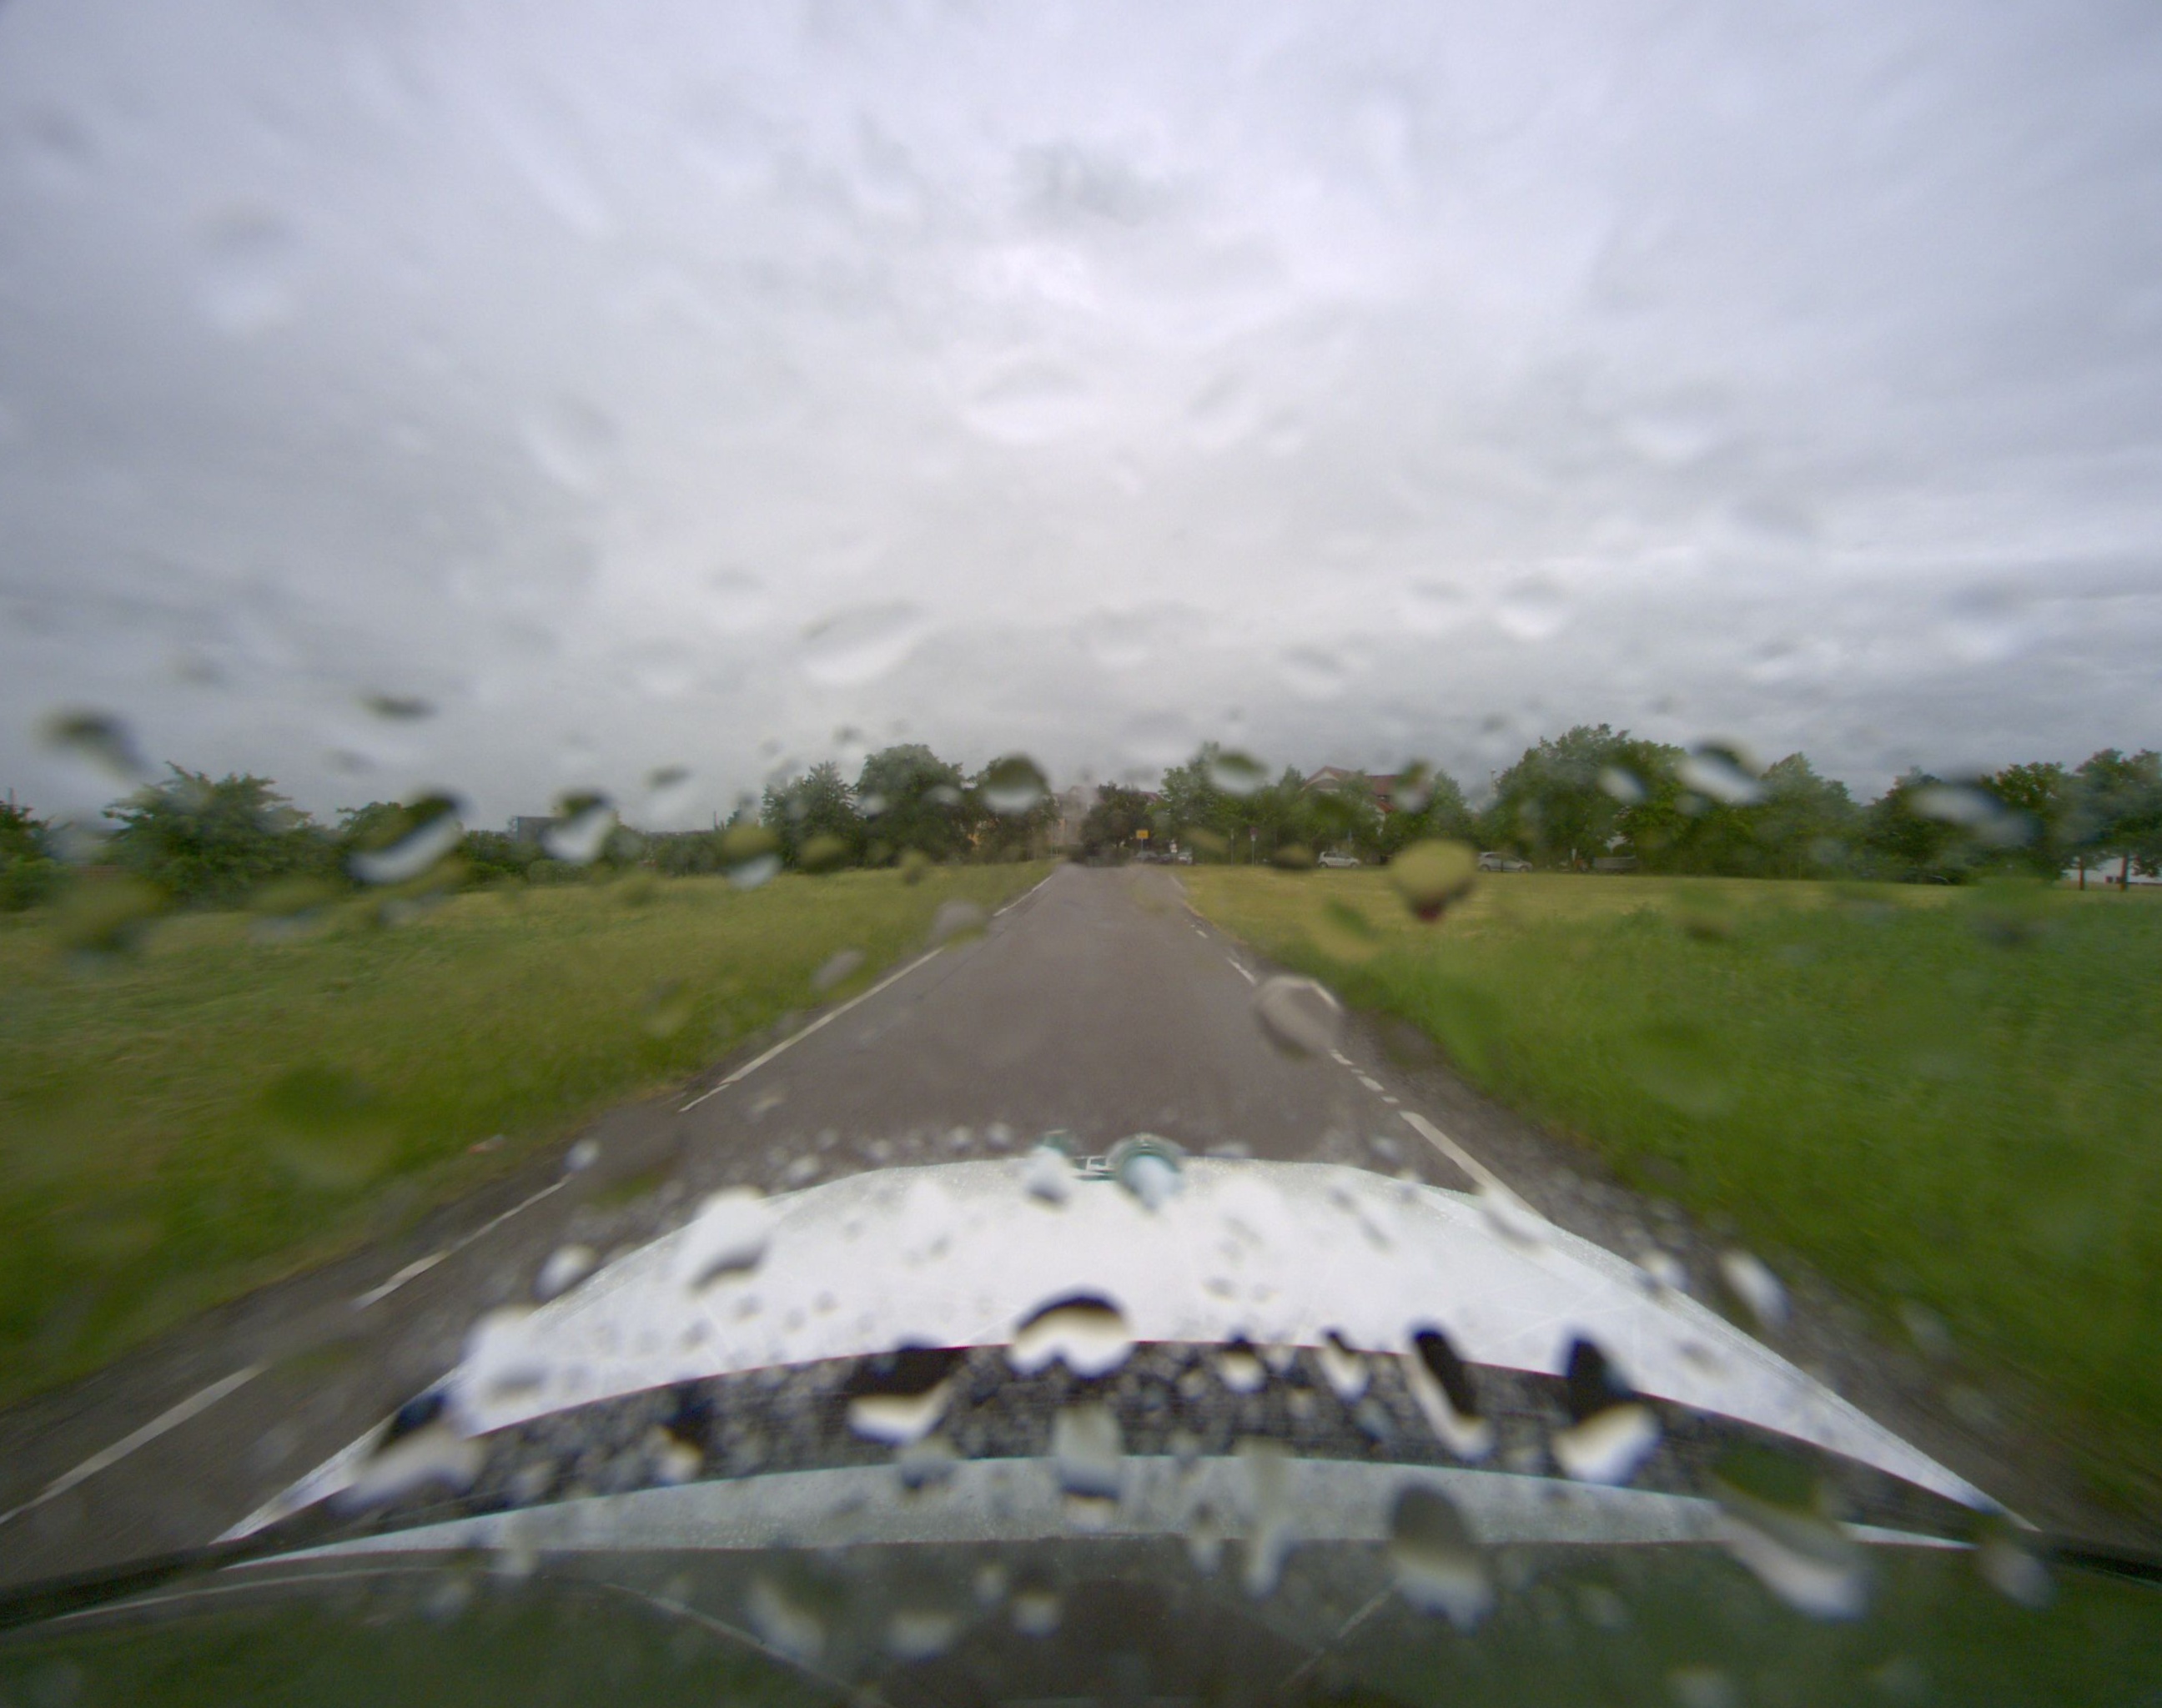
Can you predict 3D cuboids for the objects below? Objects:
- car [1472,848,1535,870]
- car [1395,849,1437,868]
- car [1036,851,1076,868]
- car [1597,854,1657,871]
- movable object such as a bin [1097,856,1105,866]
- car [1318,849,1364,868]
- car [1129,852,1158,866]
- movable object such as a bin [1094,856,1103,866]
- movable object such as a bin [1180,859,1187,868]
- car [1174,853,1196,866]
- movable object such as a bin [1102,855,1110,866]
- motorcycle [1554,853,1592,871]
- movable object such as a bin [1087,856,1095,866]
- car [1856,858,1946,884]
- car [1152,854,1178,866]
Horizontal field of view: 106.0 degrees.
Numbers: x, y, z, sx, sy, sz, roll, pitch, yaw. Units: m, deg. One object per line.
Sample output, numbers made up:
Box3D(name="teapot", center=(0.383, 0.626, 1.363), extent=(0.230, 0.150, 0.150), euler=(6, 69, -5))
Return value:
Box3D(name="car", center=(32.195, 0.382, 62.186), extent=(3.949, 1.552, 1.859), euler=(1, 0, 13))
Box3D(name="car", center=(26.214, 0.352, 63.752), extent=(2.978, 1.436, 1.561), euler=(0, -1, 19))
Box3D(name="car", center=(-2.325, 0.537, 76.360), extent=(3.651, 1.552, 1.702), euler=(-1, -1, 45))
Box3D(name="car", center=(40.214, 0.621, 60.028), extent=(3.295, 1.281, 1.740), euler=(0, 0, 13))
Box3D(name="movable object such as a bin", center=(2.055, 0.702, 84.106), extent=(0.688, 1.075, 0.546), euler=(-1, 0, 22))
Box3D(name="car", center=(20.873, 0.399, 65.351), extent=(3.513, 1.479, 1.688), euler=(-1, -1, 19))
Box3D(name="car", center=(7.276, 0.592, 94.656), extent=(1.758, 1.518, 4.163), euler=(2, 1, 30))
Box3D(name="movable object such as a bin", center=(1.791, 0.712, 83.524), extent=(0.688, 1.075, 0.605), euler=(-1, 0, 22))
Box3D(name="movable object such as a bin", center=(10.919, 0.976, 87.078), extent=(0.565, 0.931, 0.533), euler=(0, -1, 35))
Box3D(name="car", center=(13.289, 0.707, 104.030), extent=(1.496, 1.476, 3.294), euler=(2, 1, 33))
Box3D(name="movable object such as a bin", center=(2.597, 0.687, 85.258), extent=(0.688, 1.055, 0.608), euler=(-1, 0, 22))
Box3D(name="motorcycle", center=(36.545, 0.559, 60.548), extent=(2.242, 1.302, 0.975), euler=(1, 0, 13))
Box3D(name="movable object such as a bin", center=(1.058, 0.715, 83.787), extent=(0.659, 1.073, 0.546), euler=(-1, 0, 23))
Box3D(name="car", center=(57.012, 1.154, 56.678), extent=(3.961, 1.607, 1.968), euler=(3, 1, 11))
Box3D(name="car", center=(10.303, 0.693, 99.730), extent=(1.619, 1.409, 3.627), euler=(2, 1, 31))
